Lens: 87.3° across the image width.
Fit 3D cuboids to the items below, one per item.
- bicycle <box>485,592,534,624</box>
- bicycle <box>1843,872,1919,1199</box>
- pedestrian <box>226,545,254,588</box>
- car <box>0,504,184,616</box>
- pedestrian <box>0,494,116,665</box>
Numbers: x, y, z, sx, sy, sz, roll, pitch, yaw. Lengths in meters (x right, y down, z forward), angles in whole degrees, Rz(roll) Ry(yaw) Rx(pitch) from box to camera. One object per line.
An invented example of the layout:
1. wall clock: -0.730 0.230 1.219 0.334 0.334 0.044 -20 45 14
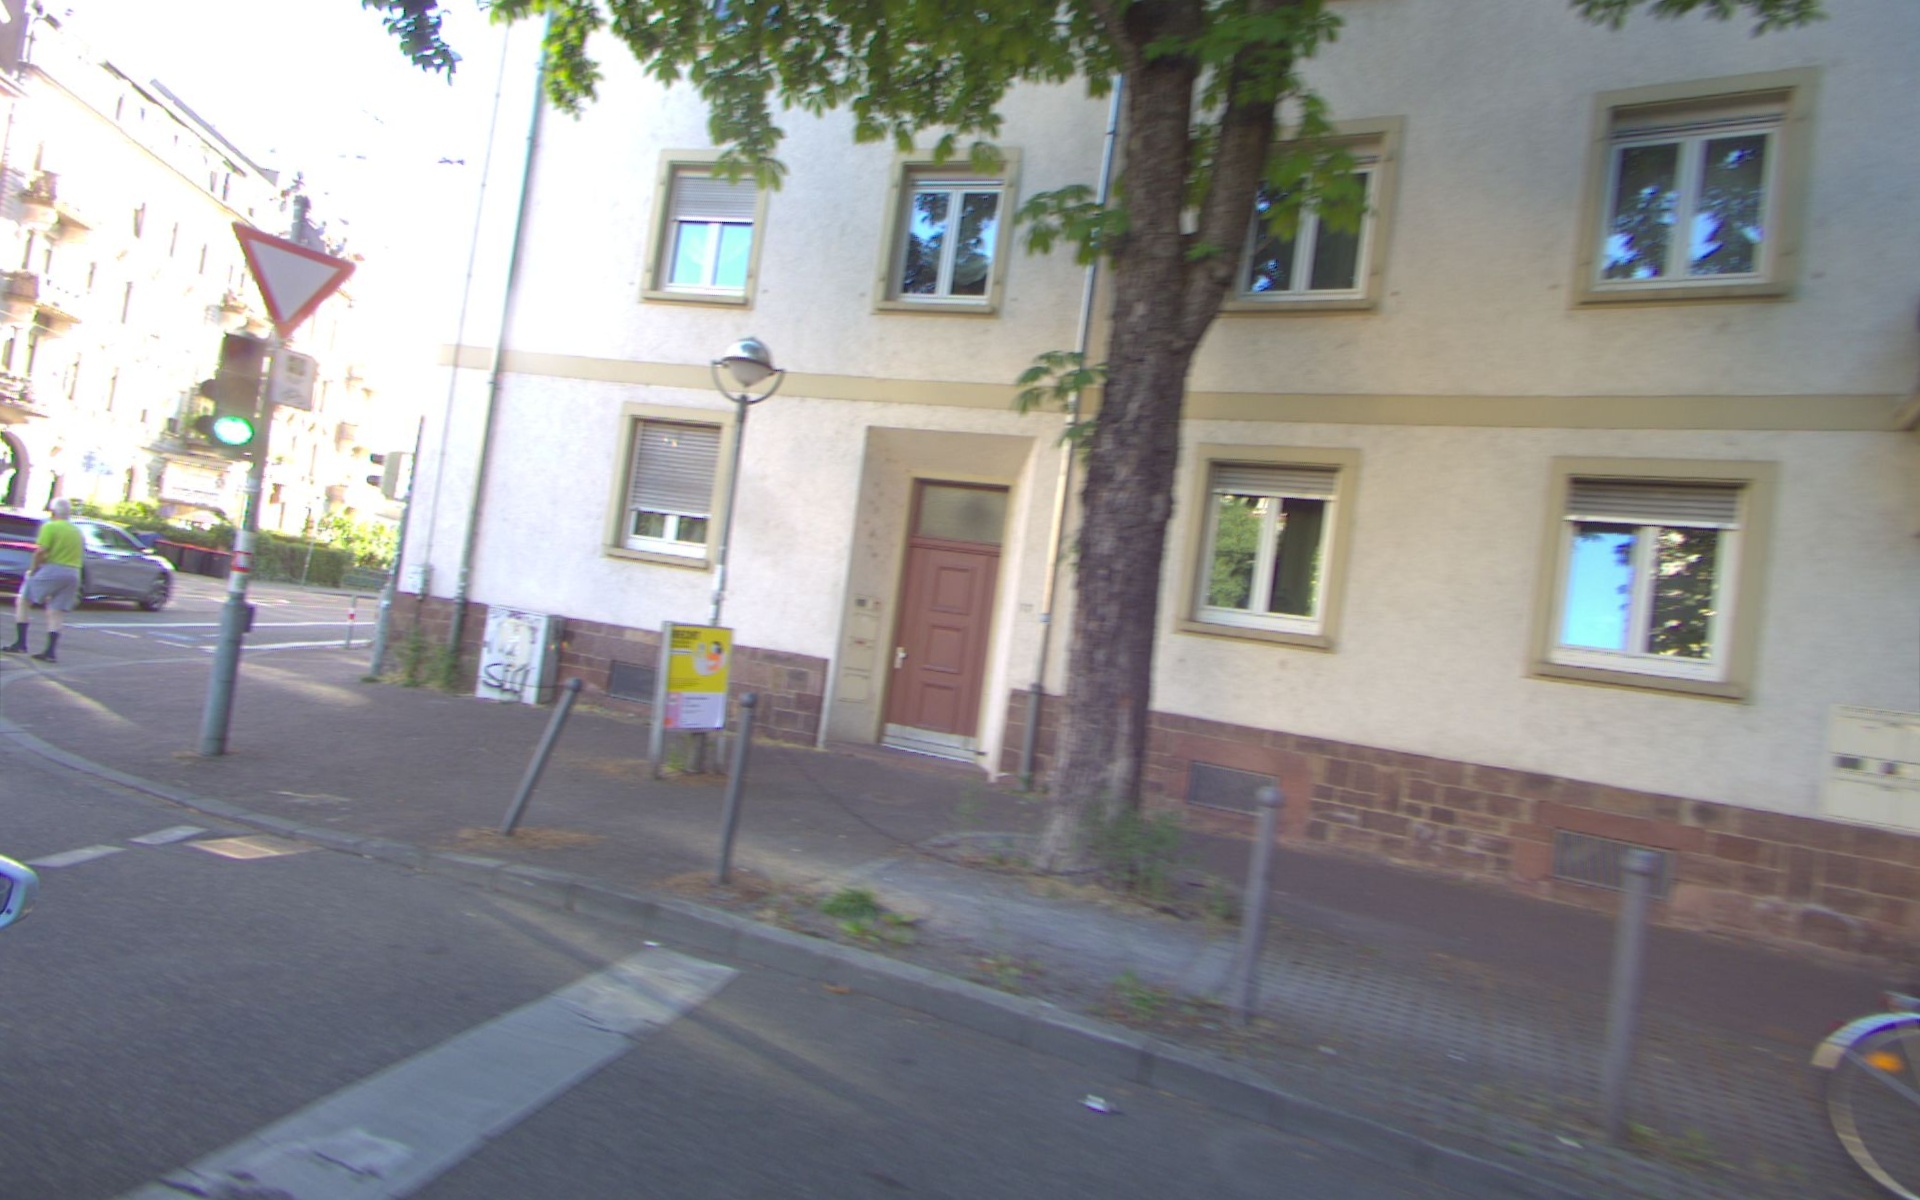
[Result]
1. bicycle: -35.626 0.650 79.555 3.196 2.041 0.929 9 0 -14
2. bicycle: 3.788 1.589 3.012 1.614 1.077 0.479 7 0 44
3. pedestrian: -29.487 -1.365 41.197 0.516 1.659 0.496 8 -2 3
4. car: -15.564 -0.684 17.217 1.949 1.602 4.463 10 -4 -17
5. pedestrian: -10.210 -0.240 11.317 0.875 1.744 0.644 8 -4 37
